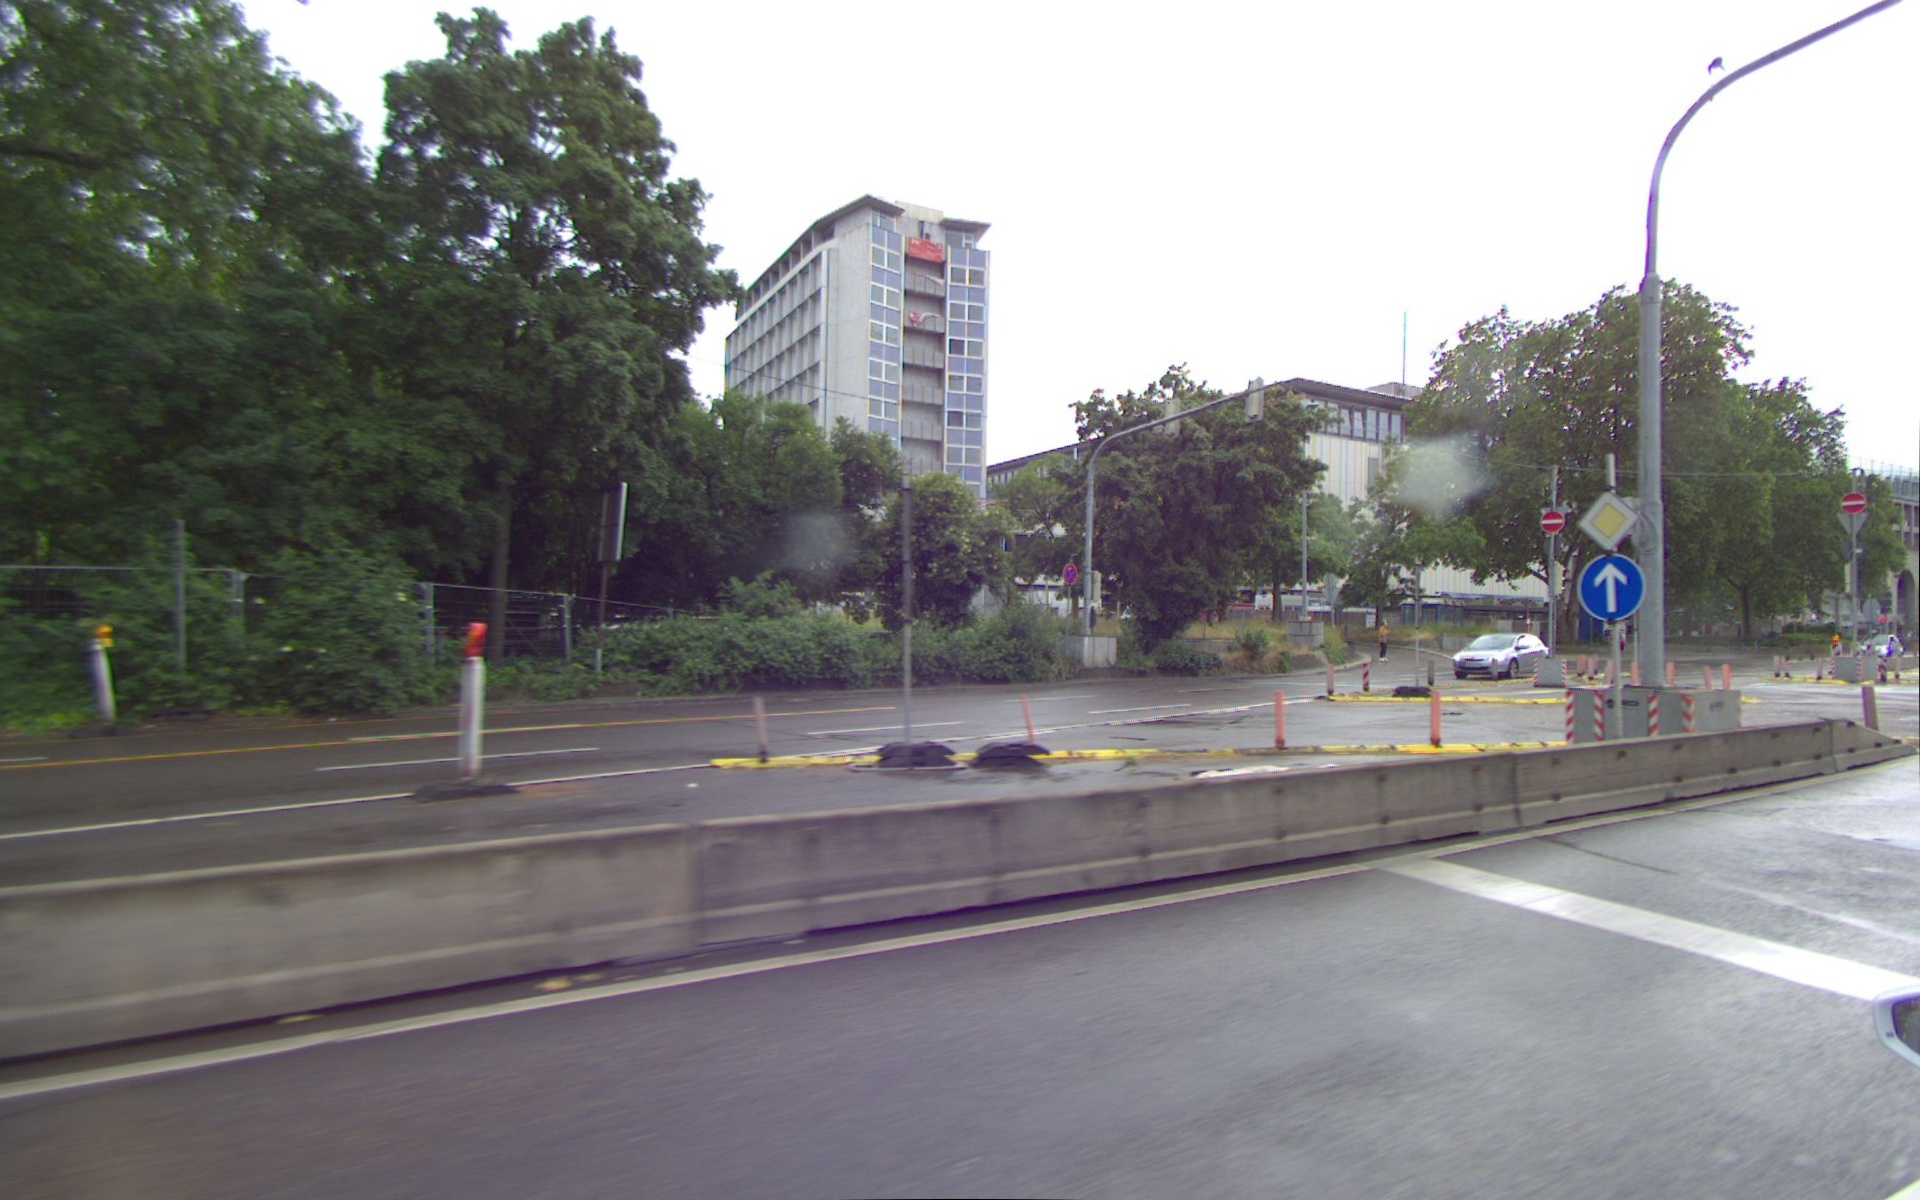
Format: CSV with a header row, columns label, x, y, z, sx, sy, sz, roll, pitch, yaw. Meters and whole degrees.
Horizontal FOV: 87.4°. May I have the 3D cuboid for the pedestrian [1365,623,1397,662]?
label,x,y,z,sx,sy,sz,roll,pitch,yaw
pedestrian,17.530,1.785,41.857,1.096,1.577,0.587,3,-4,-18

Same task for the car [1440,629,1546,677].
label,x,y,z,sx,sy,sz,roll,pitch,yaw
car,17.535,1.744,32.968,4.147,1.482,1.750,3,-4,-42

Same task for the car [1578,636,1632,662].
label,x,y,z,sx,sy,sz,roll,pitch,yaw
car,43.737,3.338,68.159,1.869,1.547,4.009,1,-4,14

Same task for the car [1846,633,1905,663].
label,x,y,z,sx,sy,sz,roll,pitch,yaw
car,53.012,2.780,58.139,4.142,1.547,1.888,5,-5,-38
